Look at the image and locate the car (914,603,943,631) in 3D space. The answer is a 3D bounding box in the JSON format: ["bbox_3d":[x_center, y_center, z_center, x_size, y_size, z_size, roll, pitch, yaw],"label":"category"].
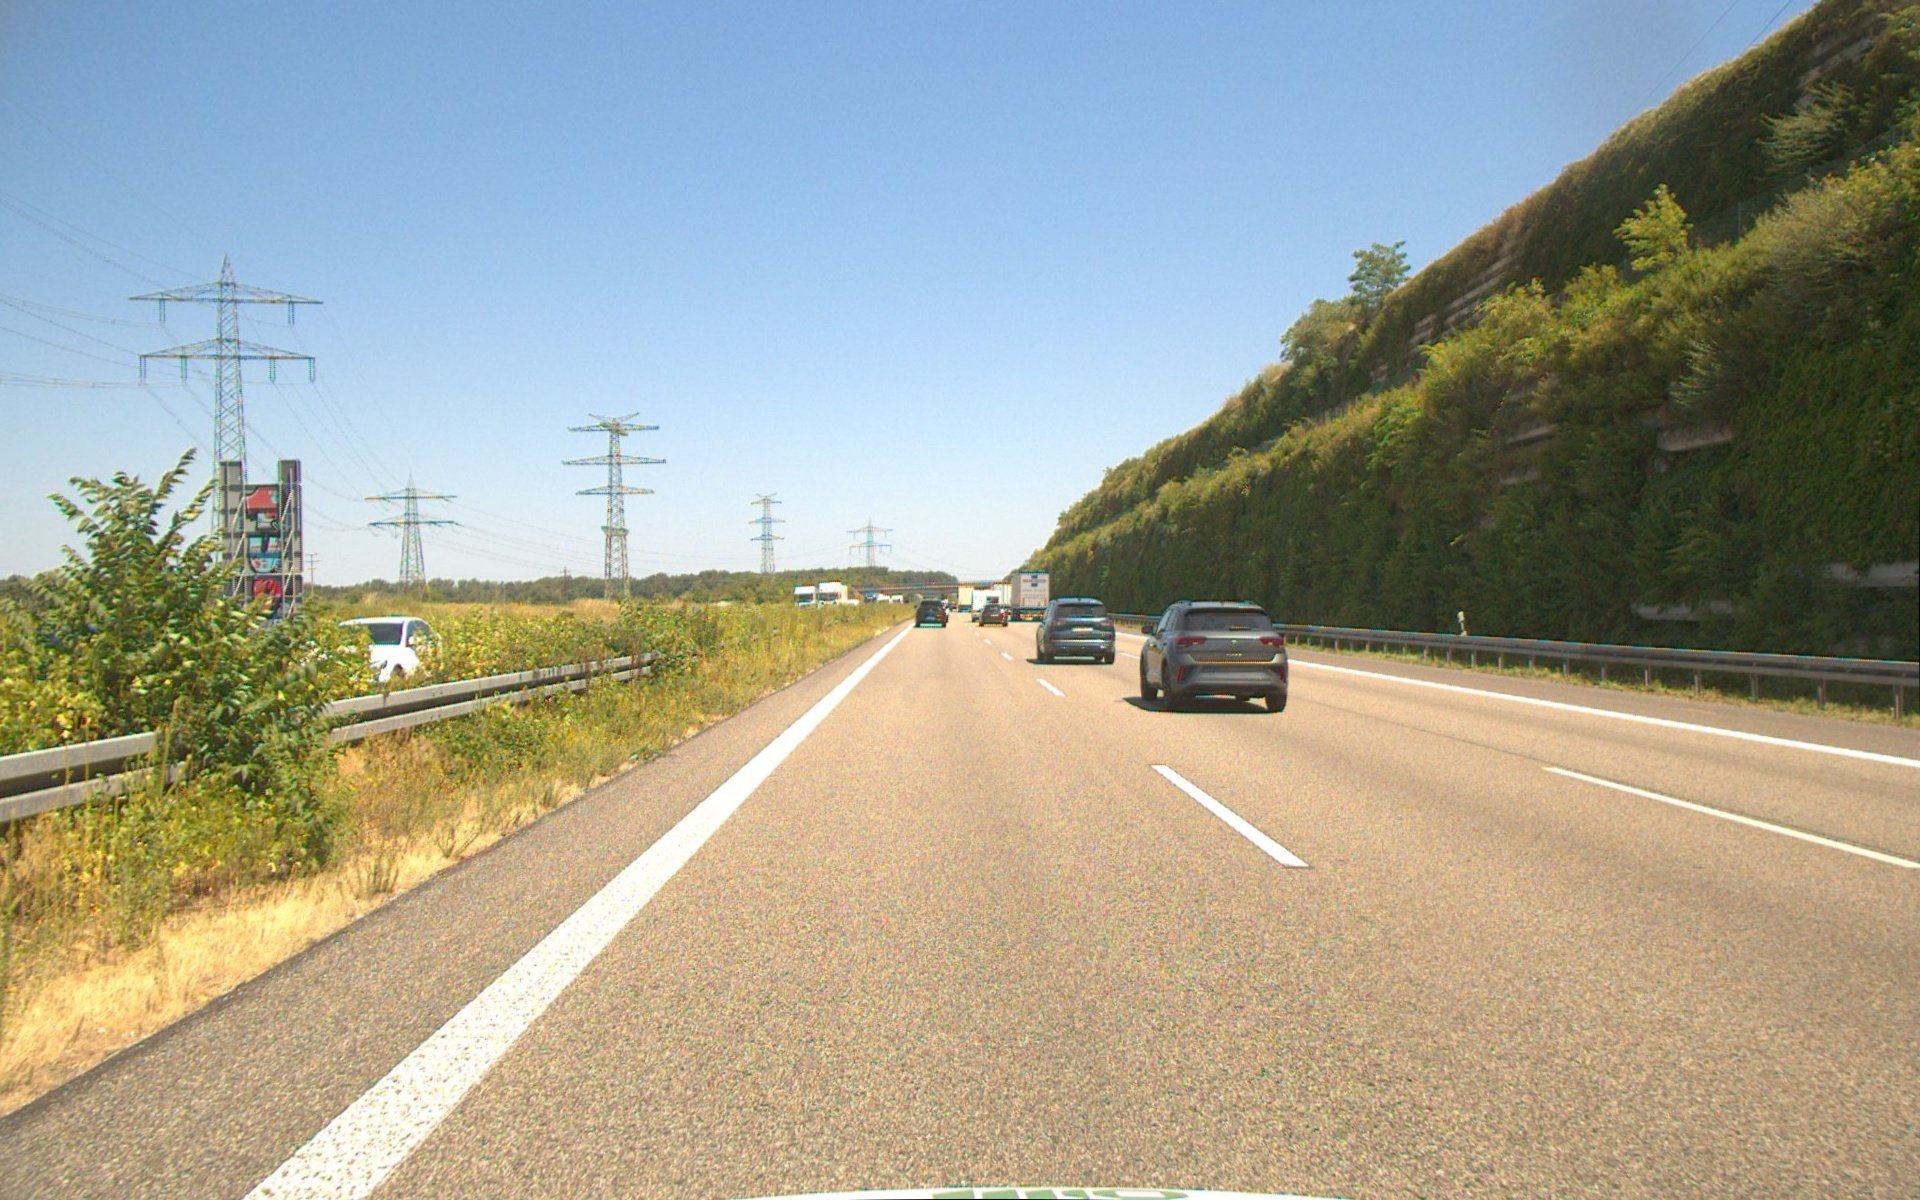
[{"bbox_3d":[-1.984,1.027,104.437,1.793,1.700,3.999,-1,0,-1],"label":"car"}]

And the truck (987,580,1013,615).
[{"bbox_3d":[5.219,-0.283,217.652,3.055,4.355,11.932,-1,0,0],"label":"truck"}]

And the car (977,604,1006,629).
[{"bbox_3d":[2.031,1.076,108.587,1.792,1.552,4.000,-1,0,0],"label":"car"}]

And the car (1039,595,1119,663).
[{"bbox_3d":[3.067,0.718,43.228,1.757,1.682,4.137,0,0,-1],"label":"car"}]

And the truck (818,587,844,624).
[{"bbox_3d":[-15.104,0.675,194.490,2.748,4.231,5.568,0,0,-2],"label":"truck"}]

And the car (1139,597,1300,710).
[{"bbox_3d":[3.806,0.751,24.912,1.714,1.552,3.994,0,0,-1],"label":"car"}]

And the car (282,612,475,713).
[{"bbox_3d":[-9.822,0.988,28.355,1.713,1.517,4.964,-1,0,-2],"label":"car"}]

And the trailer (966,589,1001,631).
[{"bbox_3d":[1.881,0.803,135.939,2.558,3.269,9.950,-1,0,-1],"label":"trailer"}]

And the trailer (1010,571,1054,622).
[{"bbox_3d":[6.149,-0.300,143.675,3.118,4.193,13.429,-1,0,-1],"label":"trailer"}]
